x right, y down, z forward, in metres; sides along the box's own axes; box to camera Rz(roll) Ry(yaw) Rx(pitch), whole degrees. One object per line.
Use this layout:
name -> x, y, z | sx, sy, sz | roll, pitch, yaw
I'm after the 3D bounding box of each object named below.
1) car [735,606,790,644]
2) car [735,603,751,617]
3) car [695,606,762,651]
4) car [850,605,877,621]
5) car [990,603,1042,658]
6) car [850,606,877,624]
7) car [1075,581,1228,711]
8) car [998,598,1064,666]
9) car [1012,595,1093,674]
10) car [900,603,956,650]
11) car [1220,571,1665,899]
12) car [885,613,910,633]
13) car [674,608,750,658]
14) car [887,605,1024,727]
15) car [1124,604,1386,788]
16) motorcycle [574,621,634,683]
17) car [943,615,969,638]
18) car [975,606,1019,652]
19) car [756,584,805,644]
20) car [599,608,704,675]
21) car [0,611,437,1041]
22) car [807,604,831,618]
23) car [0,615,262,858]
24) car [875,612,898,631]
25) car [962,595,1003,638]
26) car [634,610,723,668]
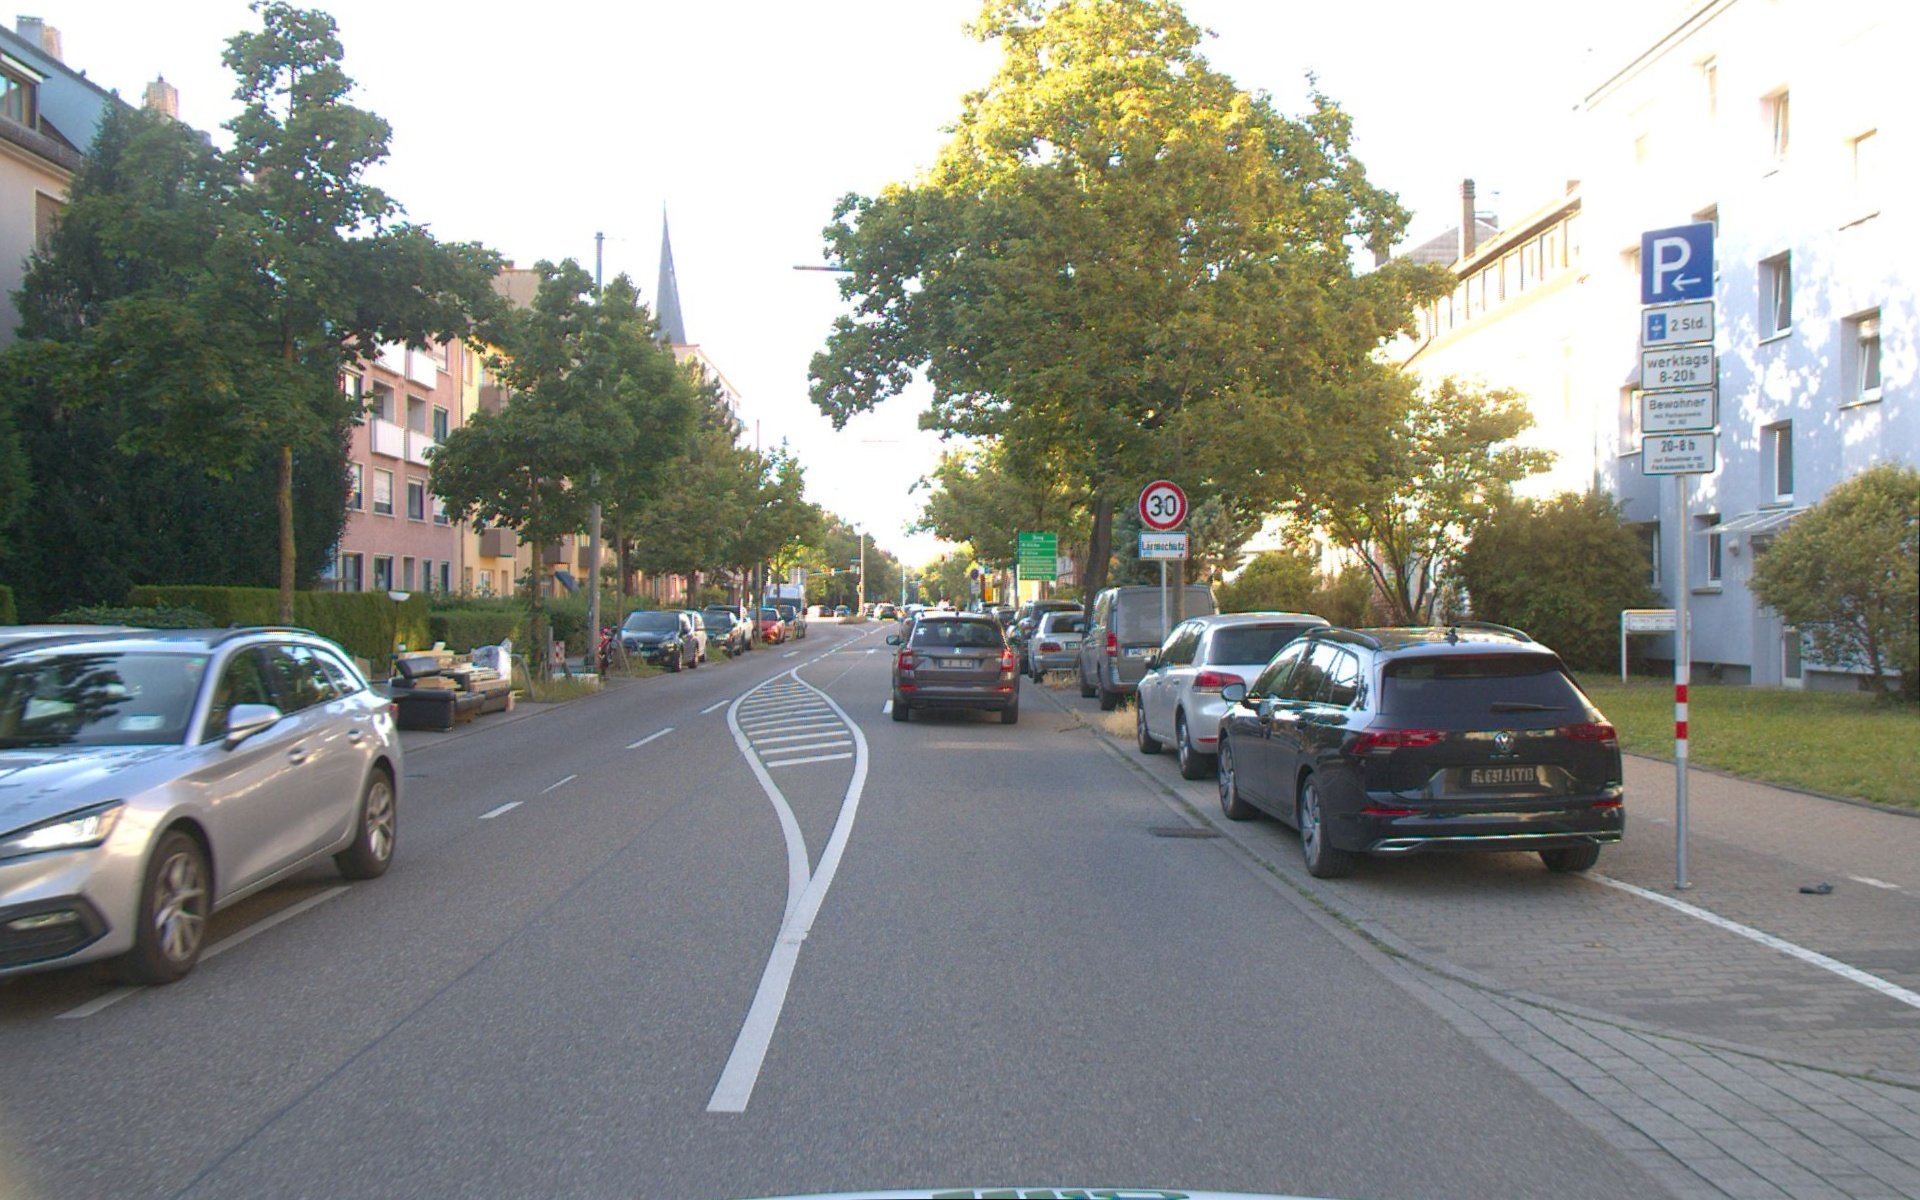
car -> -8.274, 1.035, 69.538 | 1.744, 1.506, 3.971 | 1, 0, 1
car -> -27.384, 1.273, 208.863 | 1.956, 1.780, 3.992 | 0, 0, -9
car -> -8.227, 1.005, 59.067 | 1.744, 1.506, 3.971 | 1, 0, 1
car -> -10.452, 1.394, 179.304 | 1.963, 1.780, 3.978 | 0, 0, -19
car -> 1.966, 1.058, 58.927 | 1.718, 1.837, 4.000 | 1, 0, 0
car -> -9.751, 1.464, 167.252 | 1.960, 1.780, 3.984 | 0, 0, -15
car -> 2.988, 0.684, 26.922 | 1.877, 1.893, 5.633 | 0, 0, 0
car -> 1.989, 0.883, 47.567 | 1.718, 1.837, 4.000 | 1, 0, 0
car -> 2.169, 0.798, 39.600 | 1.718, 1.745, 4.000 | 1, 0, 0
car -> -1.163, 0.962, 59.196 | 1.854, 1.533, 3.788 | 3, -1, -2
car -> 2.931, 0.733, 11.019 | 1.718, 1.716, 4.252 | 1, 0, 0
car -> -4.905, 1.799, 129.143 | 1.746, 1.506, 3.967 | 1, 0, -4
car -> -7.964, 1.035, 53.374 | 1.744, 1.506, 3.971 | 1, 0, 1
car -> -0.043, 0.846, 23.082 | 1.718, 1.518, 4.000 | 1, 0, 0
car -> 2.818, 0.857, 16.690 | 1.719, 1.584, 4.102 | 1, 0, -3
motorcycle -> -7.495, 1.070, 34.905 | 0.724, 1.225, 2.142 | 1, 0, 2
car -> -0.316, 1.954, 123.203 | 1.613, 1.627, 3.645 | 0, 0, -6
car -> 1.534, 1.204, 70.325 | 1.718, 1.837, 4.000 | -3, 0, 0
car -> -8.868, 0.661, 82.092 | 1.951, 2.830, 5.501 | 1, 0, -2
car -> -7.564, 0.986, 40.865 | 1.744, 1.506, 4.033 | 1, 0, 1
car -> -4.081, 0.868, 8.094 | 1.704, 1.505, 4.308 | -3, 0, -2
car -> -16.282, 1.302, 190.489 | 1.624, 1.627, 3.570 | 0, 0, -26
car -> -7.093, 0.911, 12.634 | 1.744, 1.521, 3.971 | 1, 0, 1
car -> -7.026, 2.070, 157.925 | 1.955, 1.780, 3.994 | 0, 0, -6
car -> 1.021, 0.745, 75.715 | 1.718, 1.837, 3.999 | 1, 0, -1
car -> -7.931, 1.069, 46.935 | 1.744, 1.506, 3.971 | 1, 0, 1
